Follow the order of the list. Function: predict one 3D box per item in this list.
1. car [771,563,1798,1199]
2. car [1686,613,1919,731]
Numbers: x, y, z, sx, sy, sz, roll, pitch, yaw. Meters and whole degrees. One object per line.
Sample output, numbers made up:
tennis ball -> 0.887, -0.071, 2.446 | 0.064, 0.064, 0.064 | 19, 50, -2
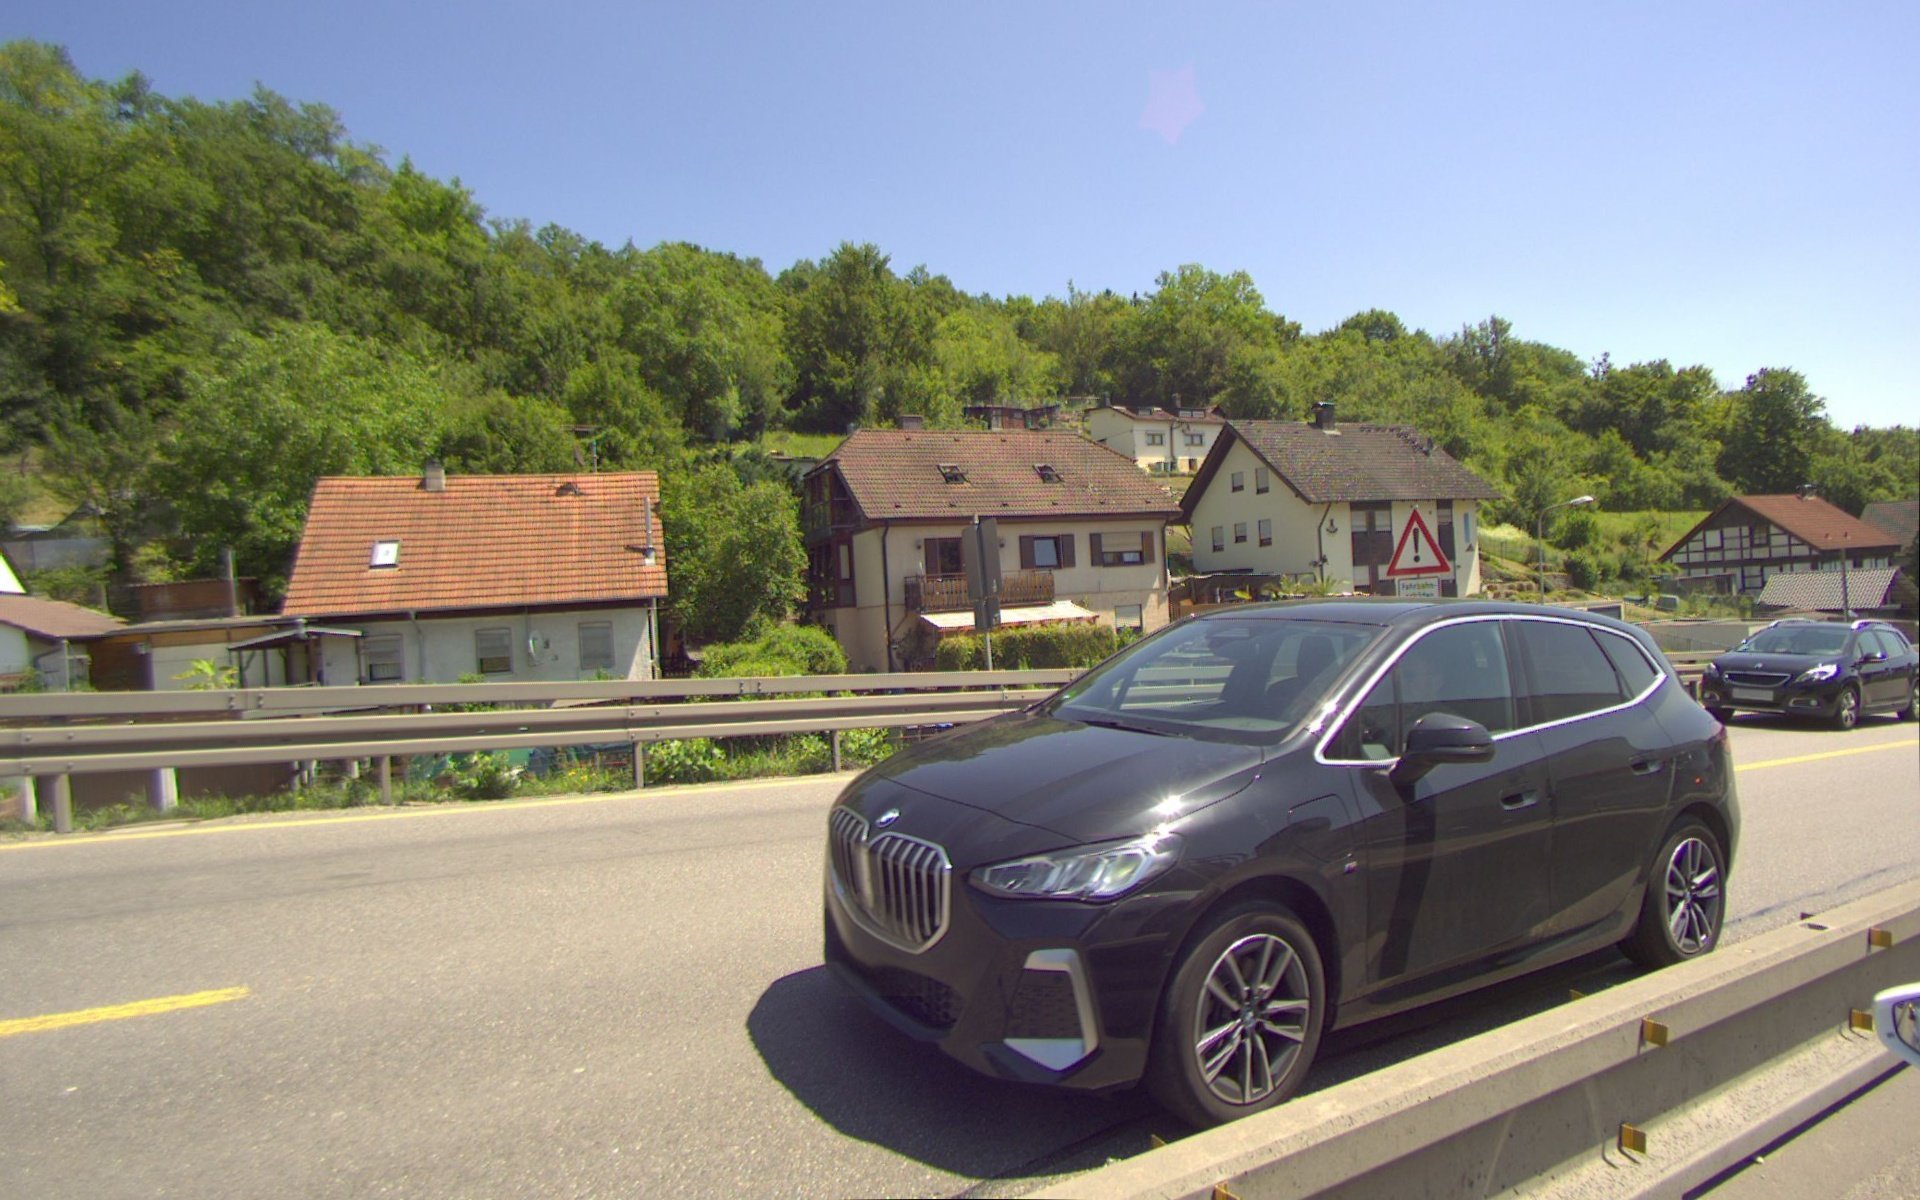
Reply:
car -> 1.495, 0.758, 4.244 | 4.111, 1.607, 1.810 | 2, 2, -31
car -> 12.977, 0.997, 15.268 | 3.953, 1.509, 1.724 | -1, 0, -30
